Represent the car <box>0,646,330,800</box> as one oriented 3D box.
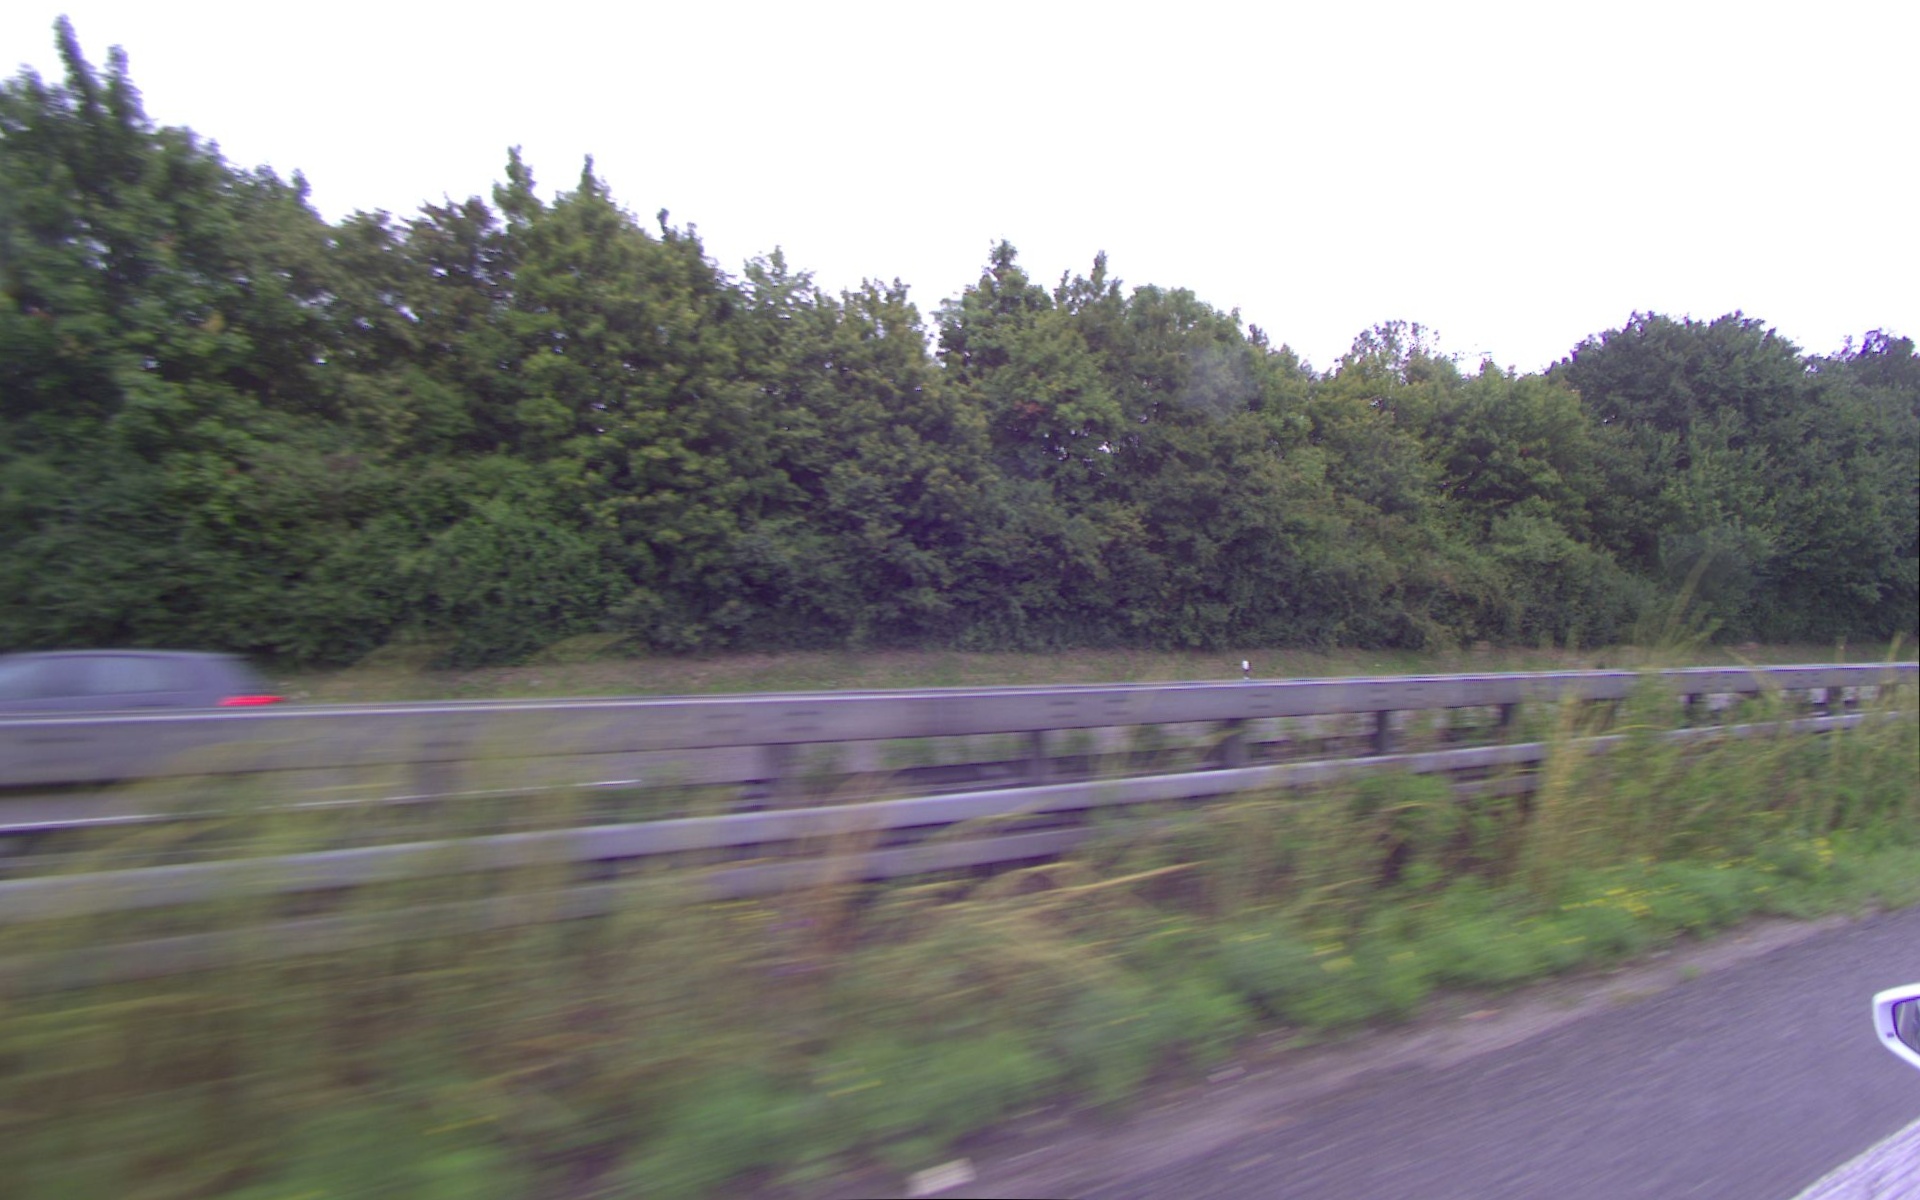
[{"bbox_3d":[-8.964,1.205,10.487,3.953,1.416,1.670,1,-2,-31],"label":"car"}]
